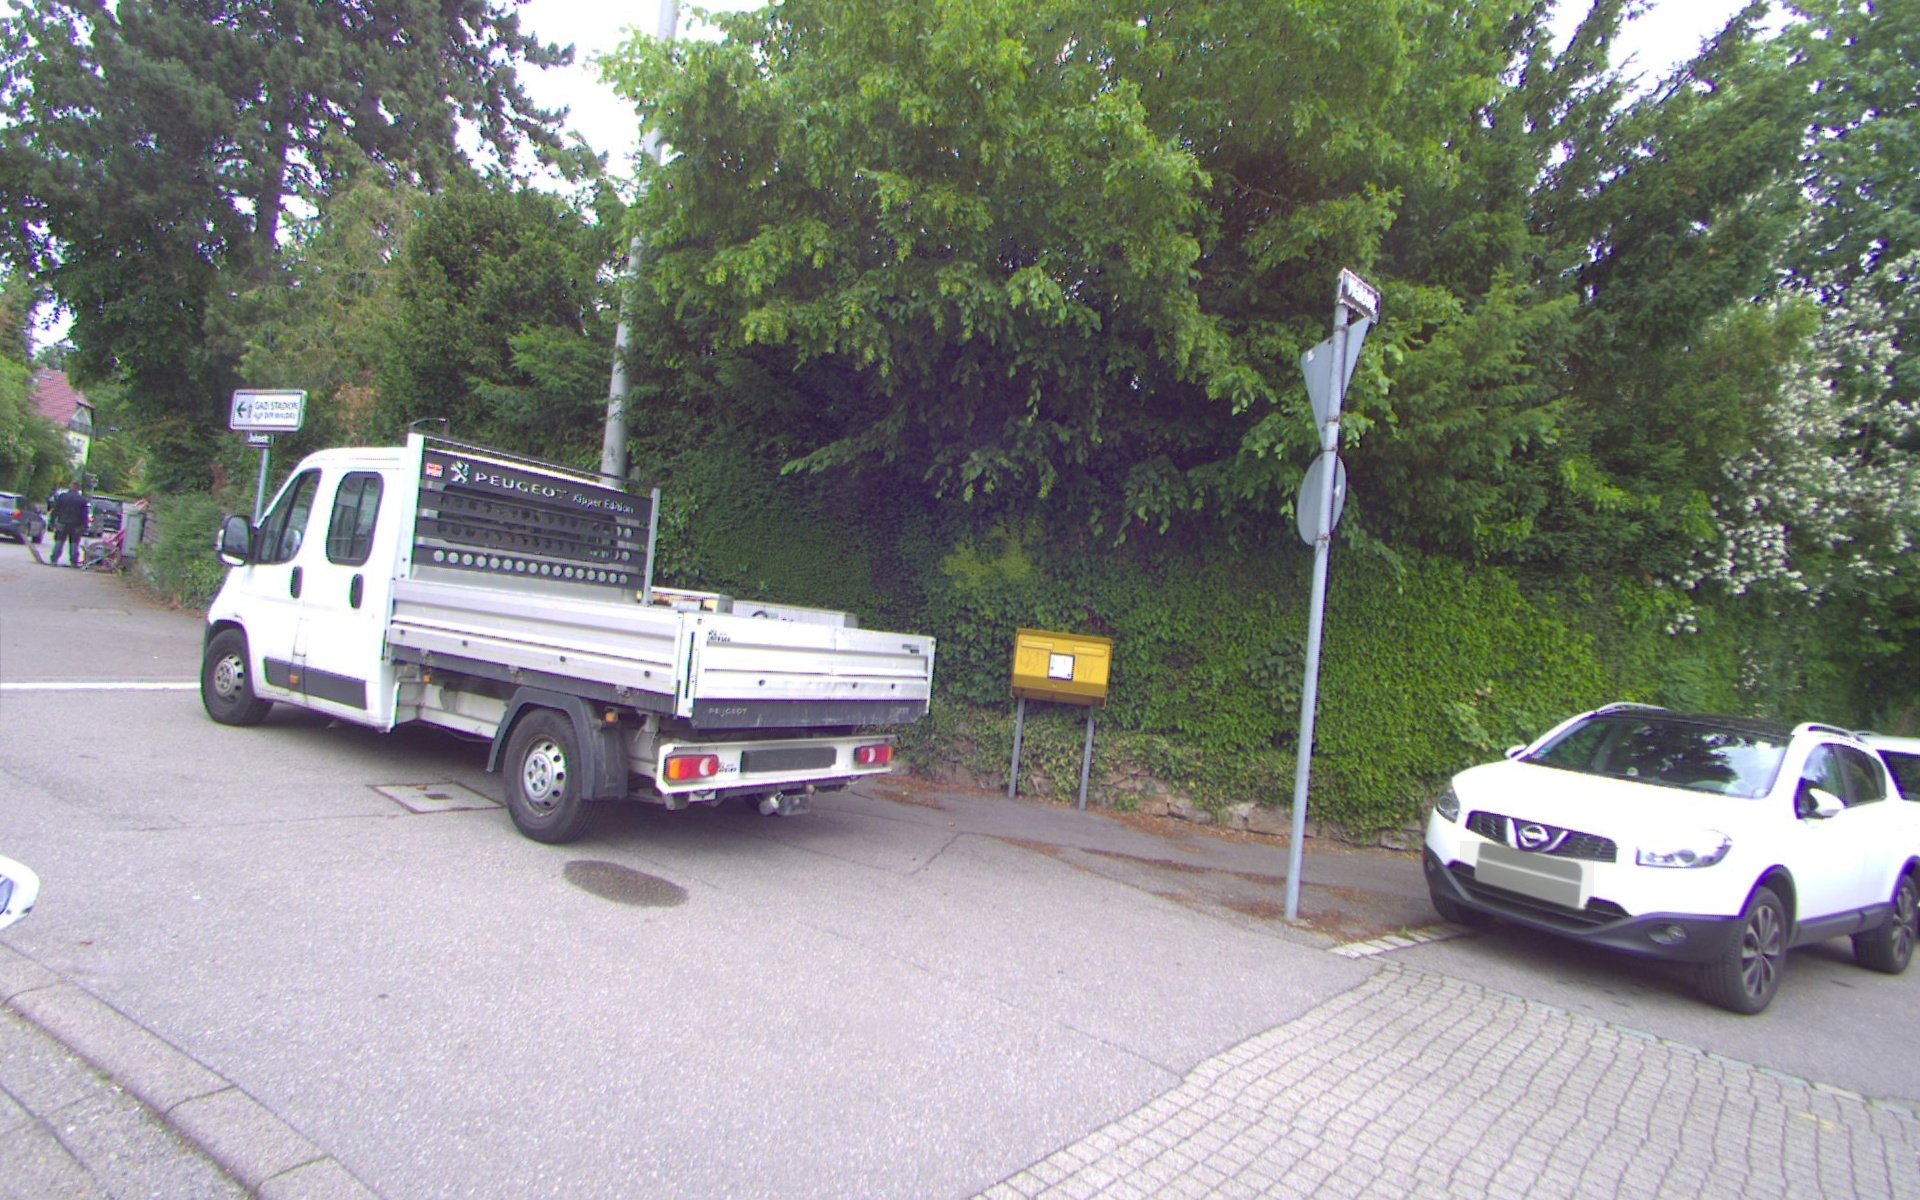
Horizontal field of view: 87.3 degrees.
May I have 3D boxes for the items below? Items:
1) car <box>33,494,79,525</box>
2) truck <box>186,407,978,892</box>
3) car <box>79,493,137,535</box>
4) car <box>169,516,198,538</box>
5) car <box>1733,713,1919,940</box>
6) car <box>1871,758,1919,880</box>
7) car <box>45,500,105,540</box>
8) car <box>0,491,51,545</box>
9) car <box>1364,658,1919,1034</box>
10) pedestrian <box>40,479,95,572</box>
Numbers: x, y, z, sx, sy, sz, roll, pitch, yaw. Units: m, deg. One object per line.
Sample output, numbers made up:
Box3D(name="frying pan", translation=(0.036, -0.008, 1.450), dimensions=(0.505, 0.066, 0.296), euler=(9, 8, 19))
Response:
Box3D(name="car", translation=(-67.492, -6.743, 75.166), dimensions=(1.901, 1.903, 5.092), euler=(6, -1, -36))
Box3D(name="truck", translation=(-2.939, 0.083, 7.164), dimensions=(5.631, 2.270, 2.211), euler=(6, -2, 34))
Box3D(name="car", translation=(-47.241, -4.743, 55.865), dimensions=(1.910, 1.915, 4.859), euler=(10, -2, -36))
Box3D(name="car", translation=(-78.320, -7.349, 101.531), dimensions=(1.930, 1.846, 4.039), euler=(10, -2, -35))
Box3D(name="car", translation=(9.040, 2.114, 9.473), dimensions=(4.041, 1.641, 1.781), euler=(9, -3, -38))
Box3D(name="car", translation=(13.798, 3.014, 13.393), dimensions=(4.040, 1.440, 1.781), euler=(8, -2, -38))
Box3D(name="car", translation=(-39.347, -3.564, 44.802), dimensions=(1.686, 1.448, 3.709), euler=(7, 0, -38))
Box3D(name="car", translation=(-30.278, -2.662, 31.686), dimensions=(1.790, 1.545, 4.697), euler=(7, 0, -36))
Box3D(name="car", translation=(4.761, 1.468, 6.660), dimensions=(4.098, 1.641, 1.783), euler=(9, -2, -34))
Box3D(name="pedestrian", translation=(-19.623, -1.631, 22.116), dimensions=(0.549, 1.929, 0.597), euler=(7, -1, 32))
